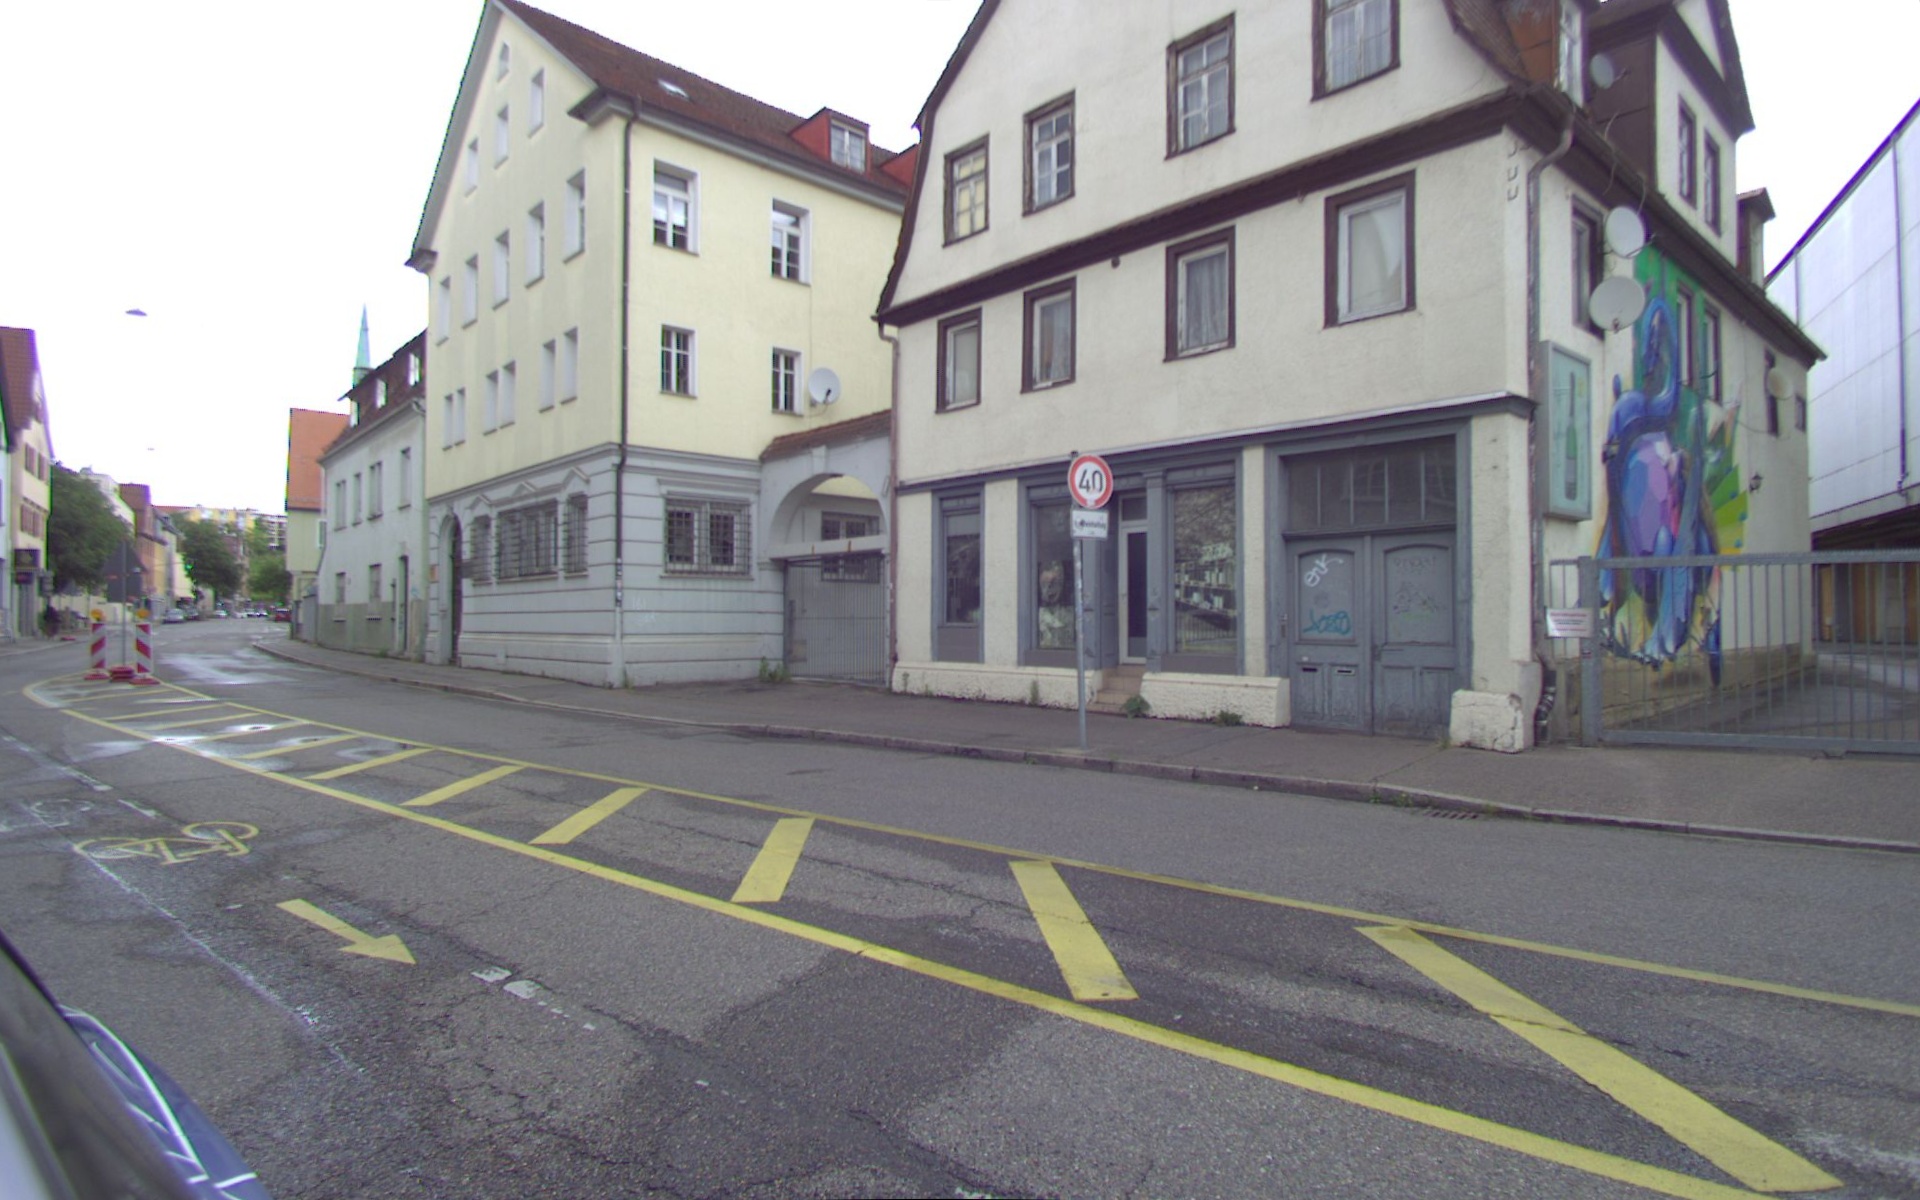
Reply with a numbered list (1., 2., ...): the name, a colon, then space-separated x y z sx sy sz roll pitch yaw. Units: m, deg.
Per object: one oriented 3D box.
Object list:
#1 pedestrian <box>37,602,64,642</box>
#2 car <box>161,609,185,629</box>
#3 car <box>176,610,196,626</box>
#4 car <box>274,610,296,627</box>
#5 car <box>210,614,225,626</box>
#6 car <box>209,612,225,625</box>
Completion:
1. pedestrian: -44.603 1.088 49.619 0.864 1.914 0.899 1 -2 -36
2. car: -84.783 2.067 109.053 1.967 2.029 4.009 1 -2 -37
3. car: -96.985 2.257 126.802 1.967 2.029 4.009 1 -2 -37
4. car: -85.653 2.339 128.368 2.027 2.029 4.009 1 -2 -37
5. car: -123.375 3.327 168.140 1.967 2.029 4.009 1 -2 -37
6. car: -114.756 2.871 156.235 1.967 2.029 4.009 1 -2 -37
